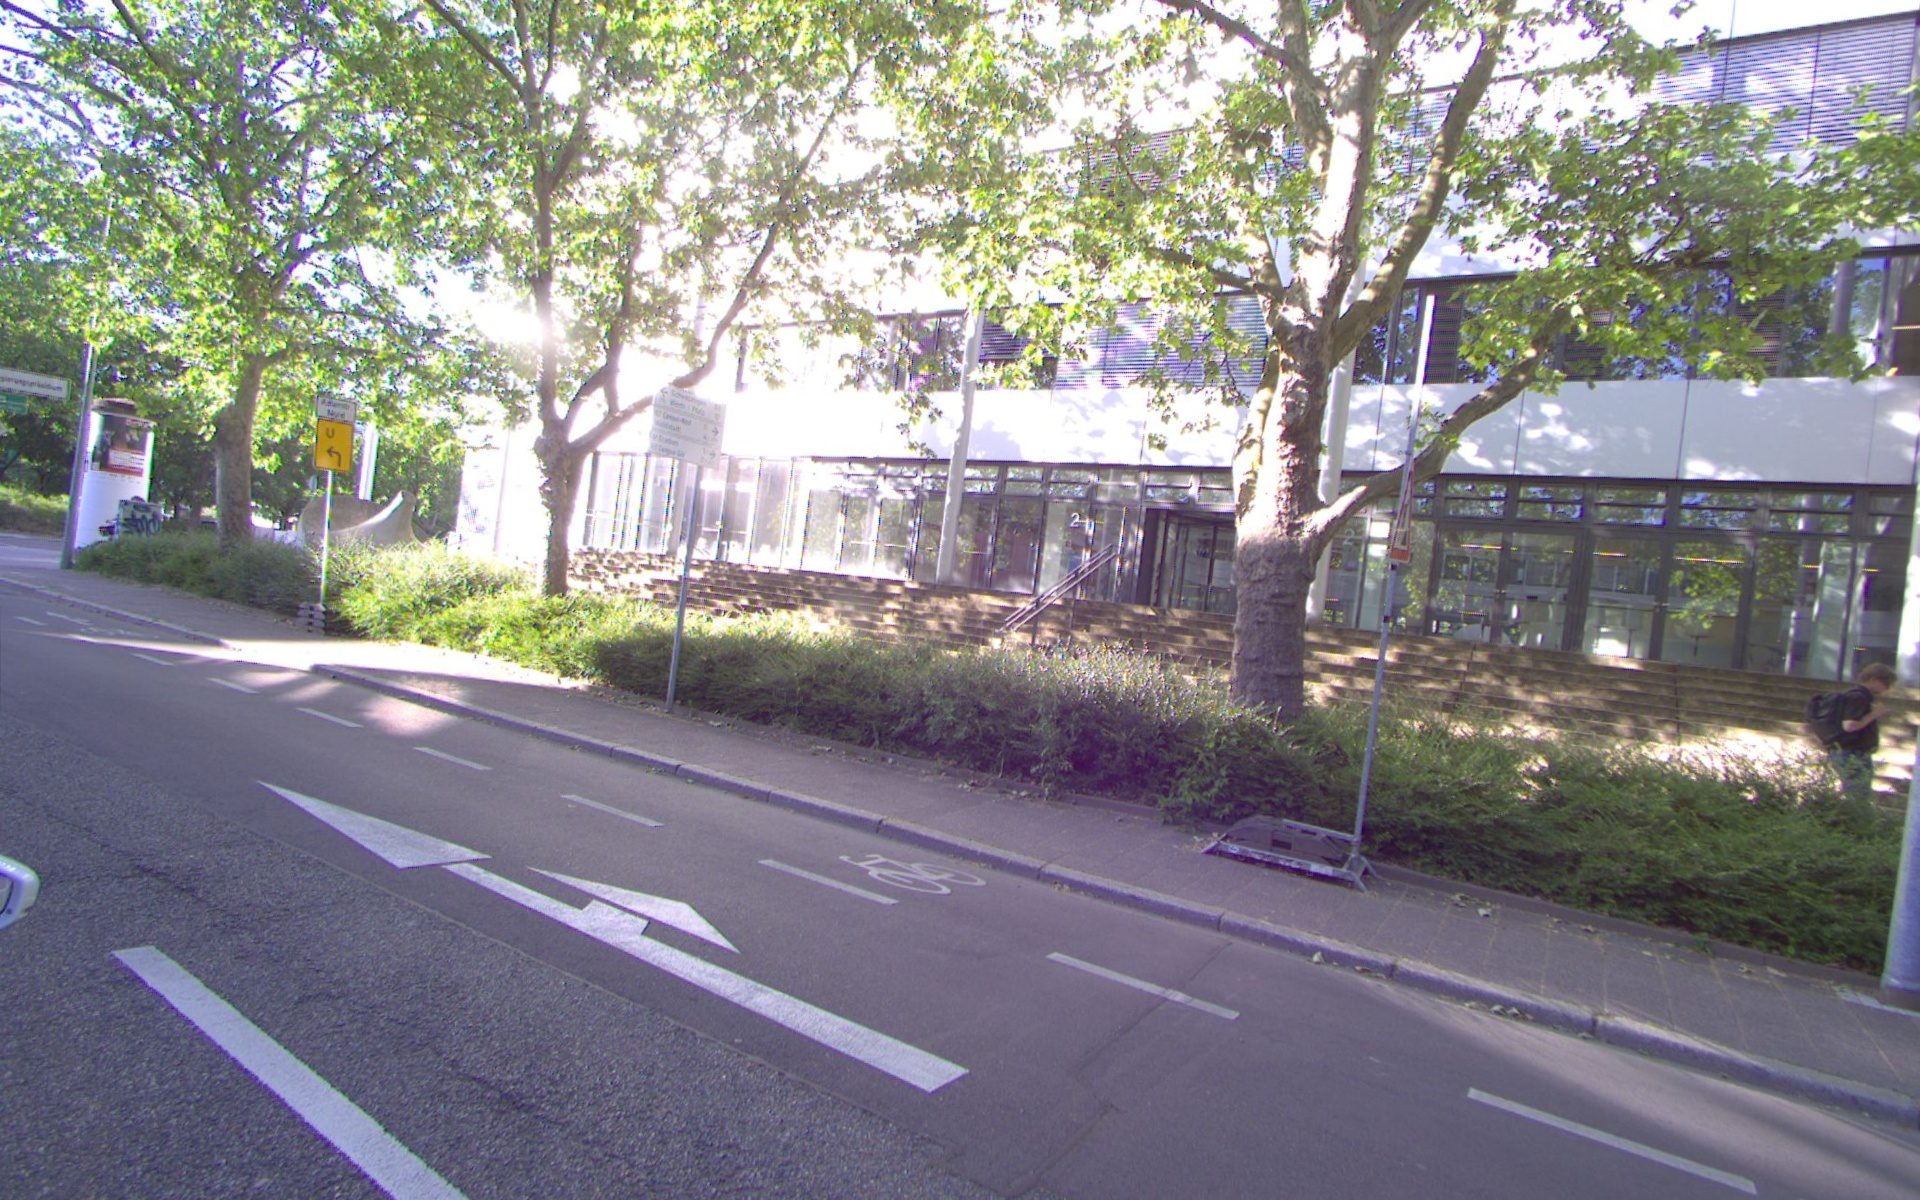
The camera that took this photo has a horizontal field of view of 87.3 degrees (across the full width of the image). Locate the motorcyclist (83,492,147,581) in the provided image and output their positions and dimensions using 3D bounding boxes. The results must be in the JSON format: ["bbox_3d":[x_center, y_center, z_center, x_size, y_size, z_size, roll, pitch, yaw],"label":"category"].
[{"bbox_3d":[-19.348,-1.445,23.032,0.662,1.885,0.823,6,-1,37],"label":"motorcyclist"}]

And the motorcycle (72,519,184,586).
[{"bbox_3d":[-19.221,-1.090,23.280,0.712,1.257,1.782,6,-2,37],"label":"motorcycle"}]

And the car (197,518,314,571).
[{"bbox_3d":[-32.696,-2.559,46.821,1.708,1.792,3.996,7,-1,30],"label":"car"}]

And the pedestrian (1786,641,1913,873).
[{"bbox_3d":[8.331,1.442,9.447,0.552,2.037,0.552,7,-1,20],"label":"pedestrian"}]
